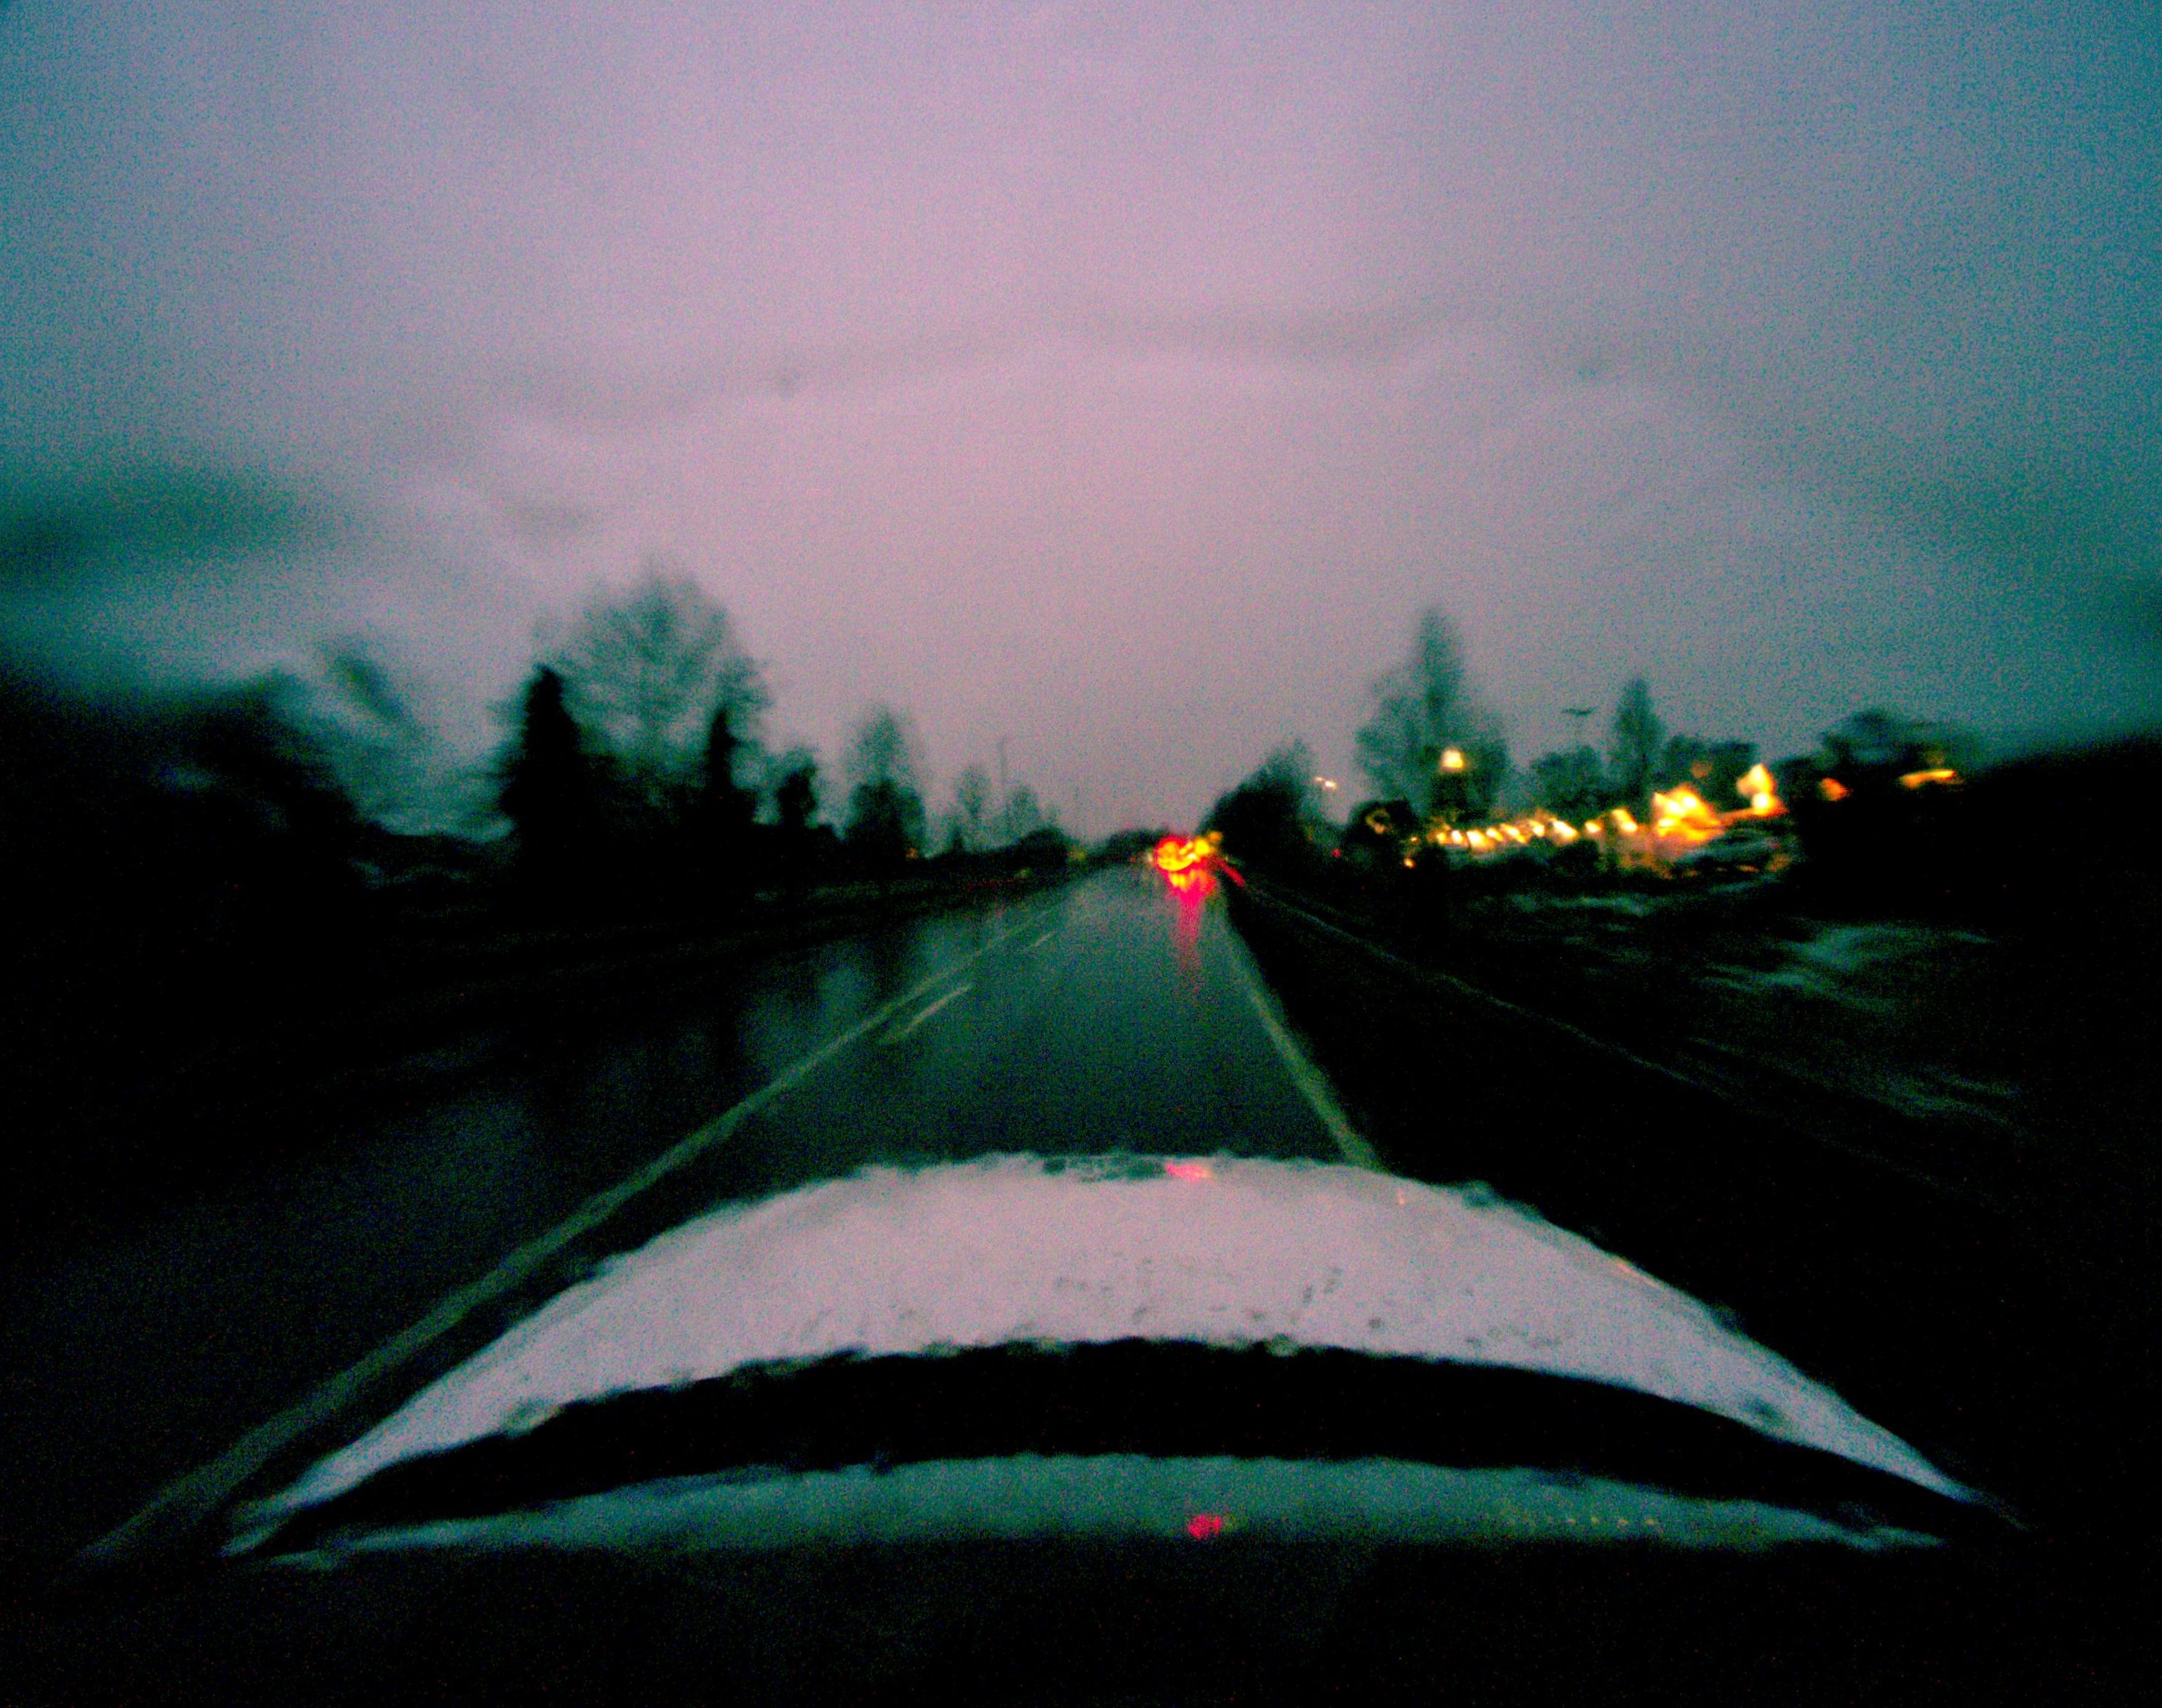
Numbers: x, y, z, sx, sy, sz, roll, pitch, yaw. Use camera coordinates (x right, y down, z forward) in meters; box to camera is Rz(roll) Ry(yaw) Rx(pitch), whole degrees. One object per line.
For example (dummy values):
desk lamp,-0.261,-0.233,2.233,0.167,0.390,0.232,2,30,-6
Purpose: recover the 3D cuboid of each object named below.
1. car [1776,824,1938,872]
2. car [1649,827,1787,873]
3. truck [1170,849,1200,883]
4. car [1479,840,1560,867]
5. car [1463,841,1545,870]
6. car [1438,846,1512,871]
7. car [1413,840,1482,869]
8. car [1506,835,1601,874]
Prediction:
car,27.909,-0.229,29.368,4.172,1.517,1.996,-2,1,-6
car,27.157,-0.183,34.820,4.382,1.715,1.998,-2,0,-3
truck,9.783,1.093,76.089,2.518,2.869,5.935,-4,-1,8
car,26.376,-0.027,49.038,3.862,1.477,1.994,-2,-1,-9
car,26.747,0.091,51.549,4.246,1.630,1.994,-2,0,-9
car,26.150,0.300,54.143,4.119,1.422,1.660,-3,-1,-4
car,26.023,0.031,57.907,4.123,1.835,1.658,-2,-2,-7
car,26.483,0.015,45.712,4.247,1.854,1.994,-4,0,-9
